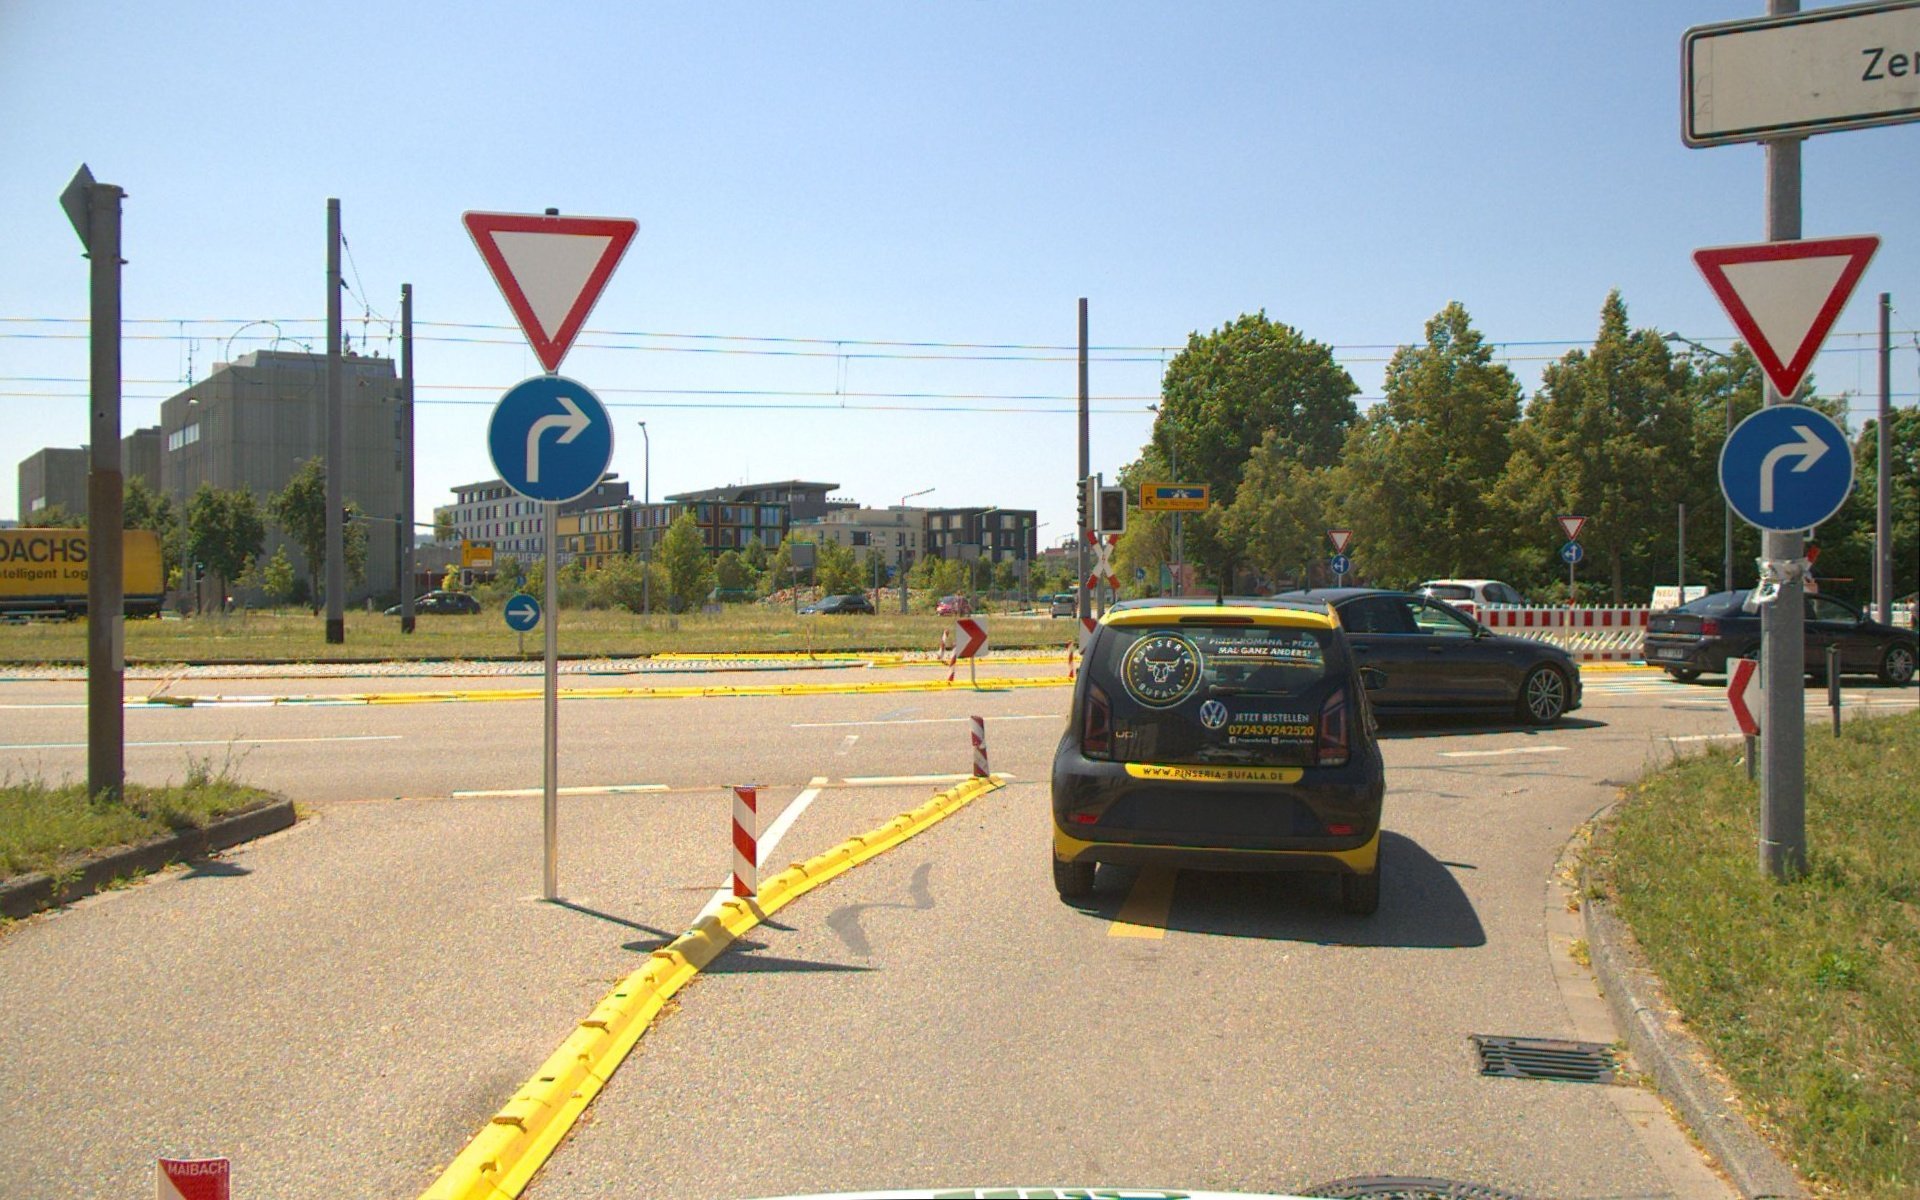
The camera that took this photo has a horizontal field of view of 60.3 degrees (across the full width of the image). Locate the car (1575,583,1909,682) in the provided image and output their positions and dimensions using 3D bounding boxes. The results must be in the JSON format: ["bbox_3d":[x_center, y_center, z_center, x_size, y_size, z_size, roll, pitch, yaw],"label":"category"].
[{"bbox_3d":[12.356,0.510,26.204,4.666,1.474,1.991,1,0,-17],"label":"car"}]

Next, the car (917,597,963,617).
[{"bbox_3d":[-1.187,0.416,98.864,1.463,1.108,3.519,0,0,23],"label":"car"}]

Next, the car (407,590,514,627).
[{"bbox_3d":[-20.949,0.344,69.376,3.997,1.486,1.710,0,0,-33],"label":"car"}]

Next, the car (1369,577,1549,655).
[{"bbox_3d":[10.334,0.294,34.070,1.964,1.512,4.341,0,0,41],"label":"car"}]

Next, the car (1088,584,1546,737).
[{"bbox_3d":[3.847,0.570,17.819,4.573,1.474,1.985,0,1,-24],"label":"car"}]

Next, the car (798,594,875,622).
[{"bbox_3d":[-6.192,0.385,83.411,1.953,1.342,4.481,0,0,24],"label":"car"}]

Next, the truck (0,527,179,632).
[{"bbox_3d":[-33.915,-0.743,60.259,9.542,3.723,2.664,-1,0,-44],"label":"truck"}]

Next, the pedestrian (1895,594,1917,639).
[{"bbox_3d":[31.028,0.533,54.255,0.509,1.454,0.352,0,0,9],"label":"pedestrian"}]

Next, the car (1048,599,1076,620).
[{"bbox_3d":[7.091,0.630,114.587,1.623,1.396,3.034,0,0,9],"label":"car"}]

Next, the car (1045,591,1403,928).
[{"bbox_3d":[1.548,0.705,9.457,1.584,1.477,3.990,1,0,11],"label":"car"}]
